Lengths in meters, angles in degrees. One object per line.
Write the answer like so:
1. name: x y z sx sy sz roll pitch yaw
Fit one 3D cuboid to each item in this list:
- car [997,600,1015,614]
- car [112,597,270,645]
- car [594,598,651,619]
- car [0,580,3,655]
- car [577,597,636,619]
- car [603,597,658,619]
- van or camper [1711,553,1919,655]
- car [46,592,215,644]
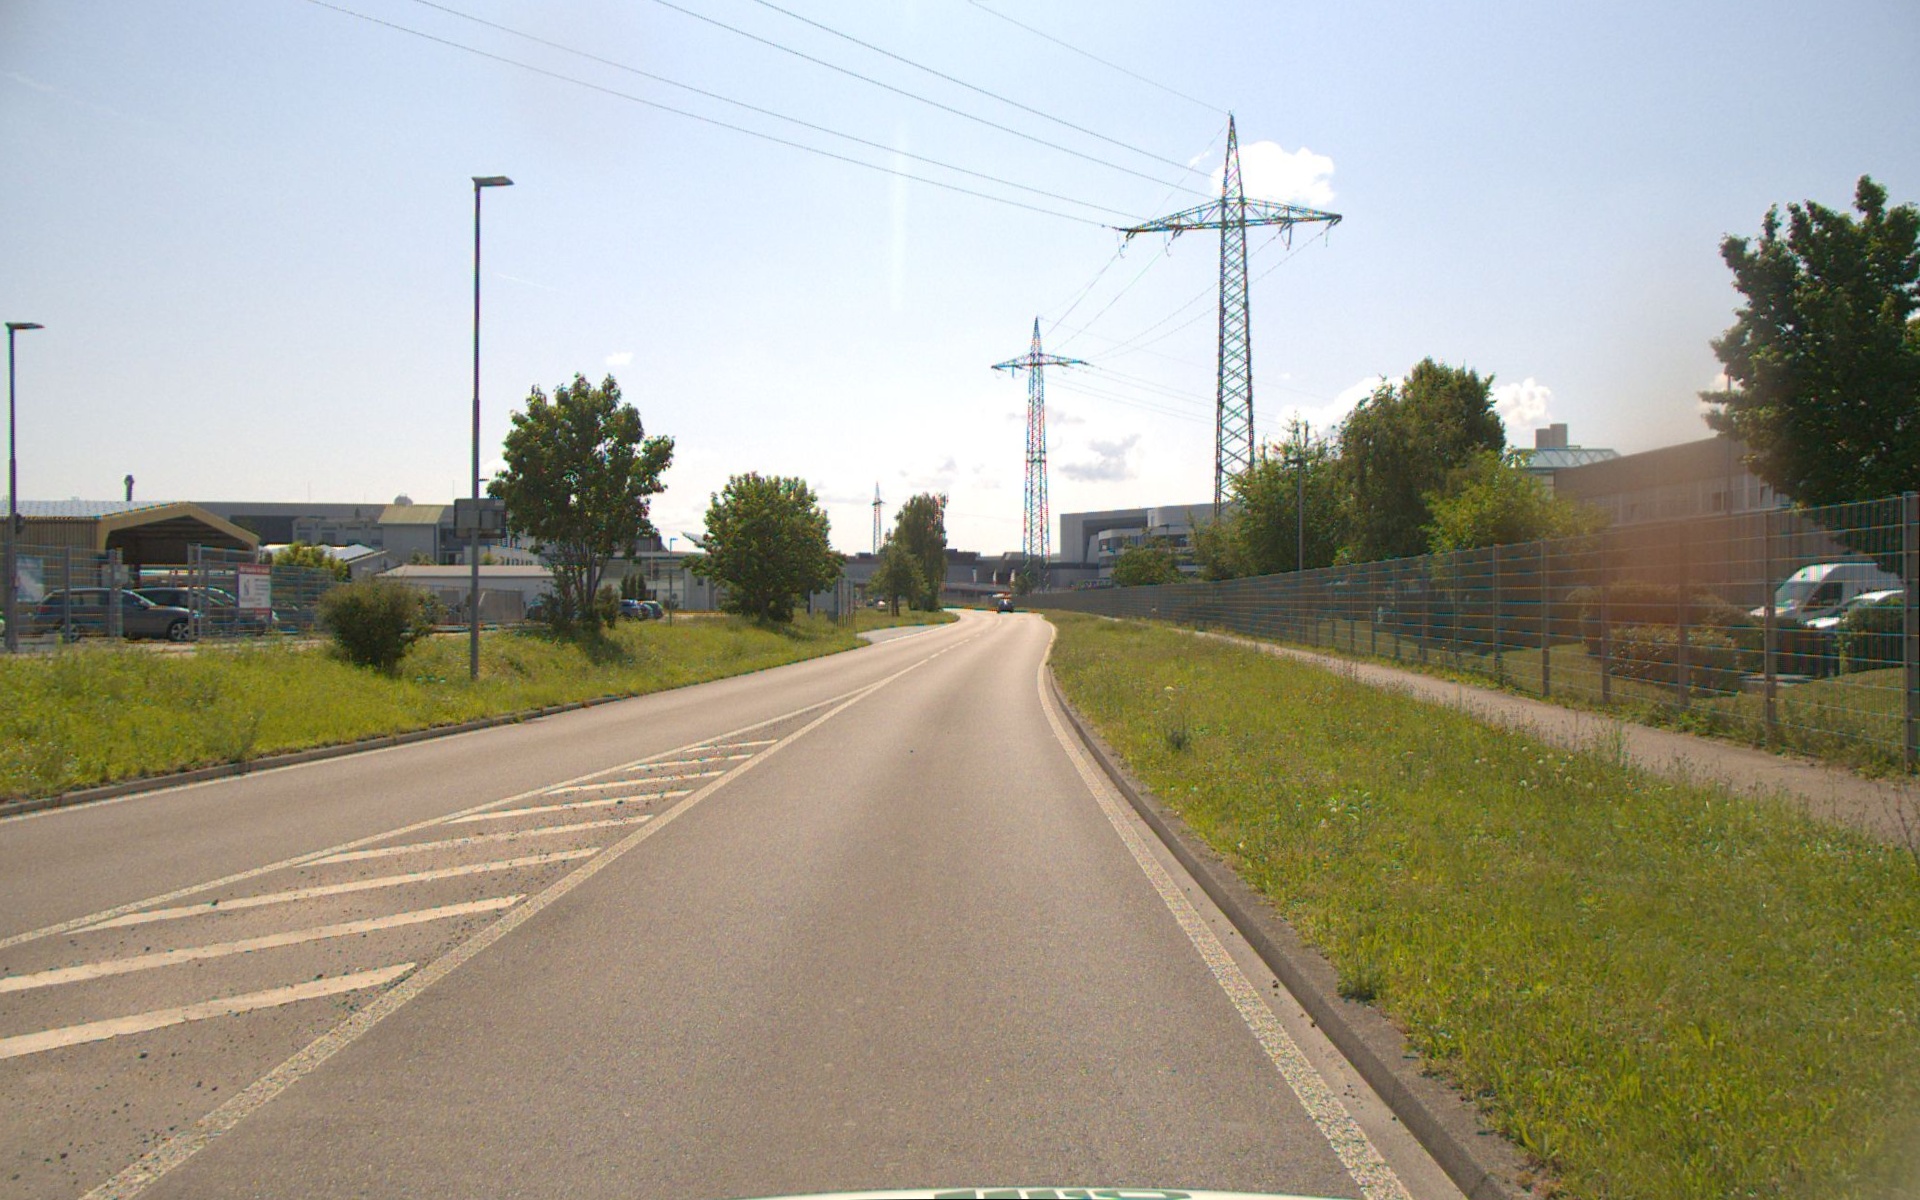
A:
1. car: 5.300 0.796 192.675 1.971 1.534 4.000 0 0 0
2. car: -22.002 0.589 47.345 3.946 1.333 1.923 0 0 -31
3. car: -25.034 0.634 122.869 3.907 1.582 1.665 0 0 -3
4. car: -22.023 0.348 34.091 3.946 1.567 1.923 0 0 -31
5. car: -25.303 0.565 118.502 3.907 1.555 1.999 0 0 -3
6. car: -25.726 0.615 129.205 3.907 1.668 1.999 0 0 -3
7. van or camper: 24.323 0.136 46.287 5.657 2.562 1.998 3 0 -4
8. car: -22.201 0.476 44.265 3.946 1.333 1.923 0 0 -31
